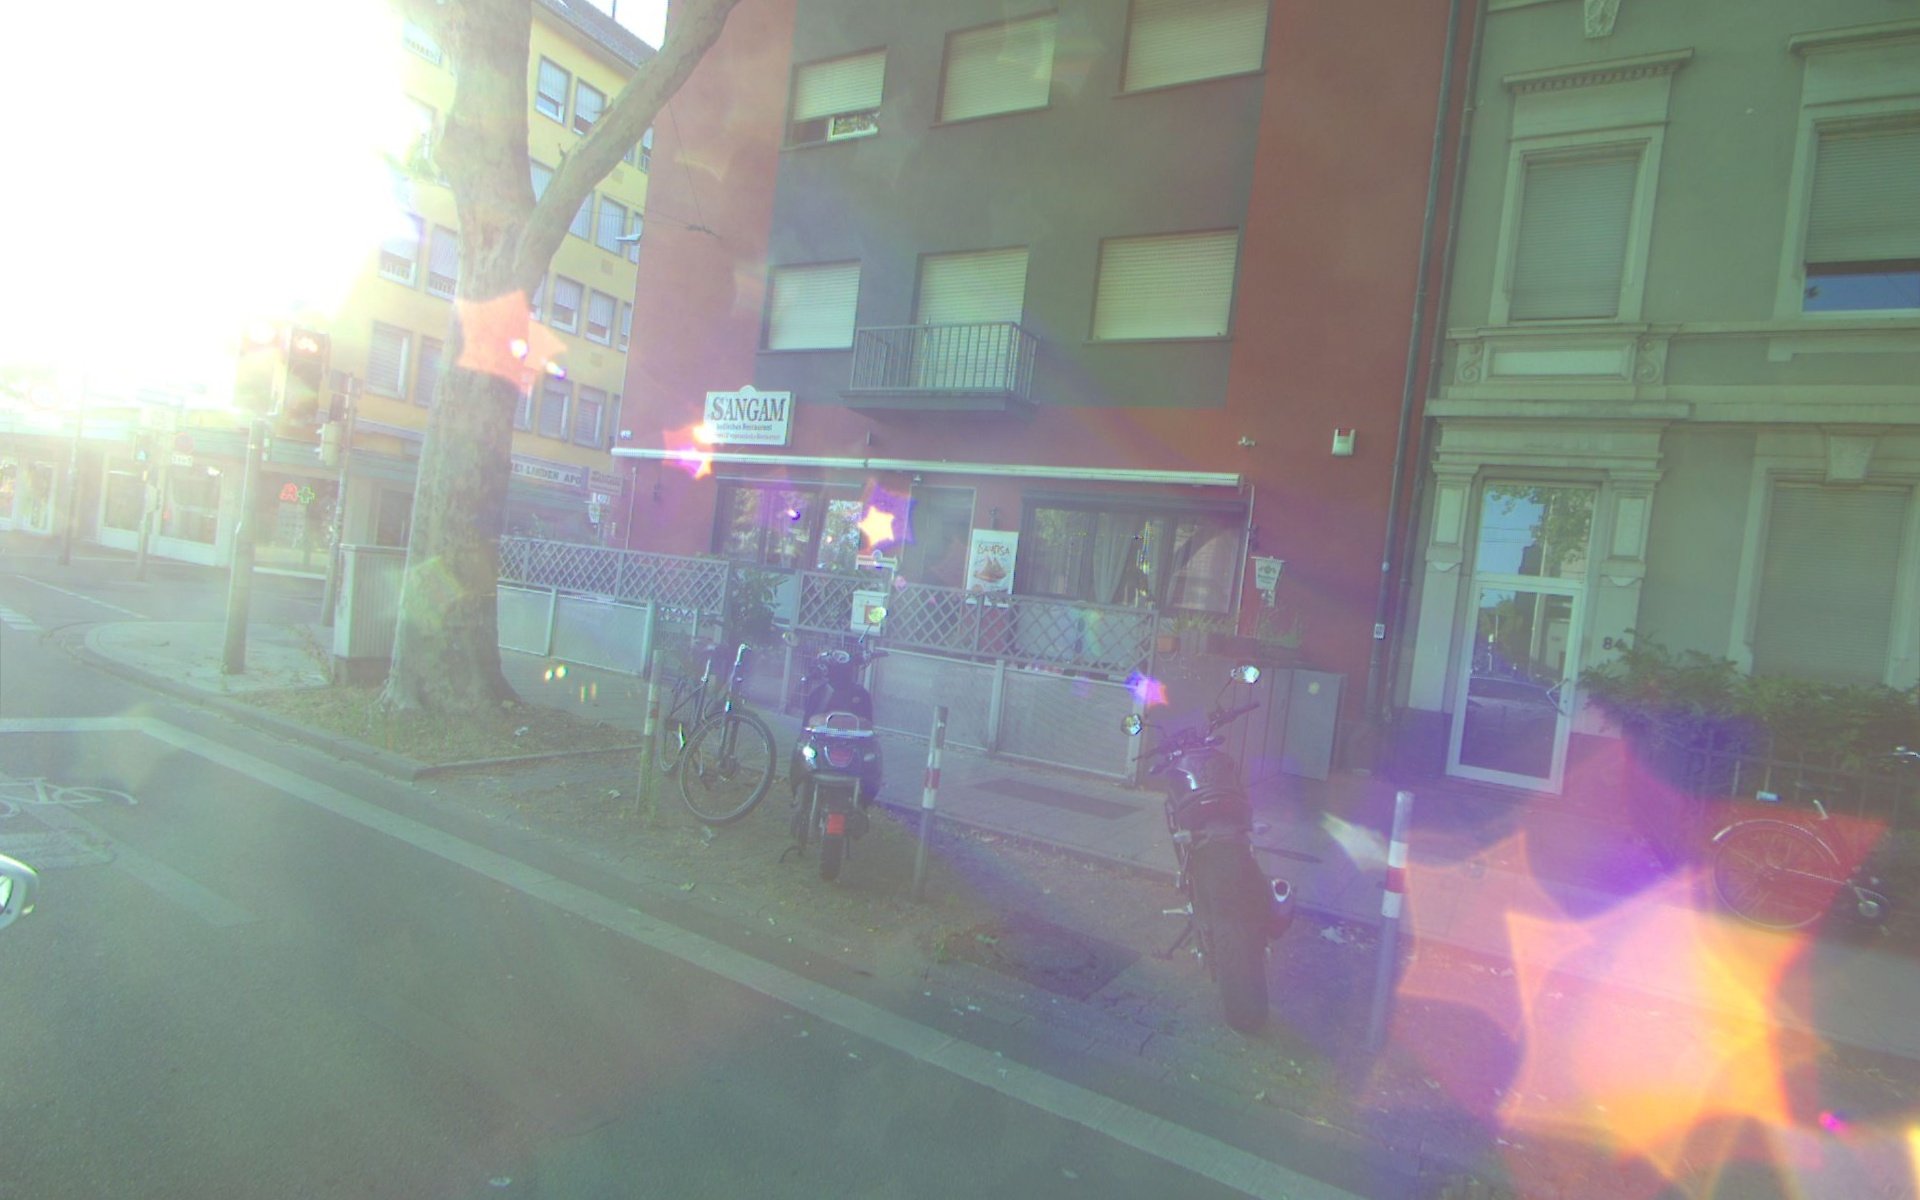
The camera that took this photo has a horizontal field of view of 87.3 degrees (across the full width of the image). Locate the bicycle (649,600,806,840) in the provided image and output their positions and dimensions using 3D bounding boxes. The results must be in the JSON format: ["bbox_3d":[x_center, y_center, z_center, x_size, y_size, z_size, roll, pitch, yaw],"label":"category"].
[{"bbox_3d":[-1.628,0.723,6.780,0.686,1.219,1.837,8,2,-20],"label":"bicycle"}]

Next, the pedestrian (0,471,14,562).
[{"bbox_3d":[-19.537,-1.718,20.077,0.676,1.792,0.680,7,1,32],"label":"pedestrian"}]

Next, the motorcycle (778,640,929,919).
[{"bbox_3d":[-0.679,0.901,5.754,0.591,1.166,1.994,6,0,-10],"label":"motorcycle"}]

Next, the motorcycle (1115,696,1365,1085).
[{"bbox_3d":[1.179,1.143,4.719,0.752,1.077,2.212,7,2,9],"label":"motorcycle"}]

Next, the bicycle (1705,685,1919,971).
[{"bbox_3d":[5.727,1.369,5.603,2.356,1.443,0.608,7,-1,32],"label":"bicycle"}]
